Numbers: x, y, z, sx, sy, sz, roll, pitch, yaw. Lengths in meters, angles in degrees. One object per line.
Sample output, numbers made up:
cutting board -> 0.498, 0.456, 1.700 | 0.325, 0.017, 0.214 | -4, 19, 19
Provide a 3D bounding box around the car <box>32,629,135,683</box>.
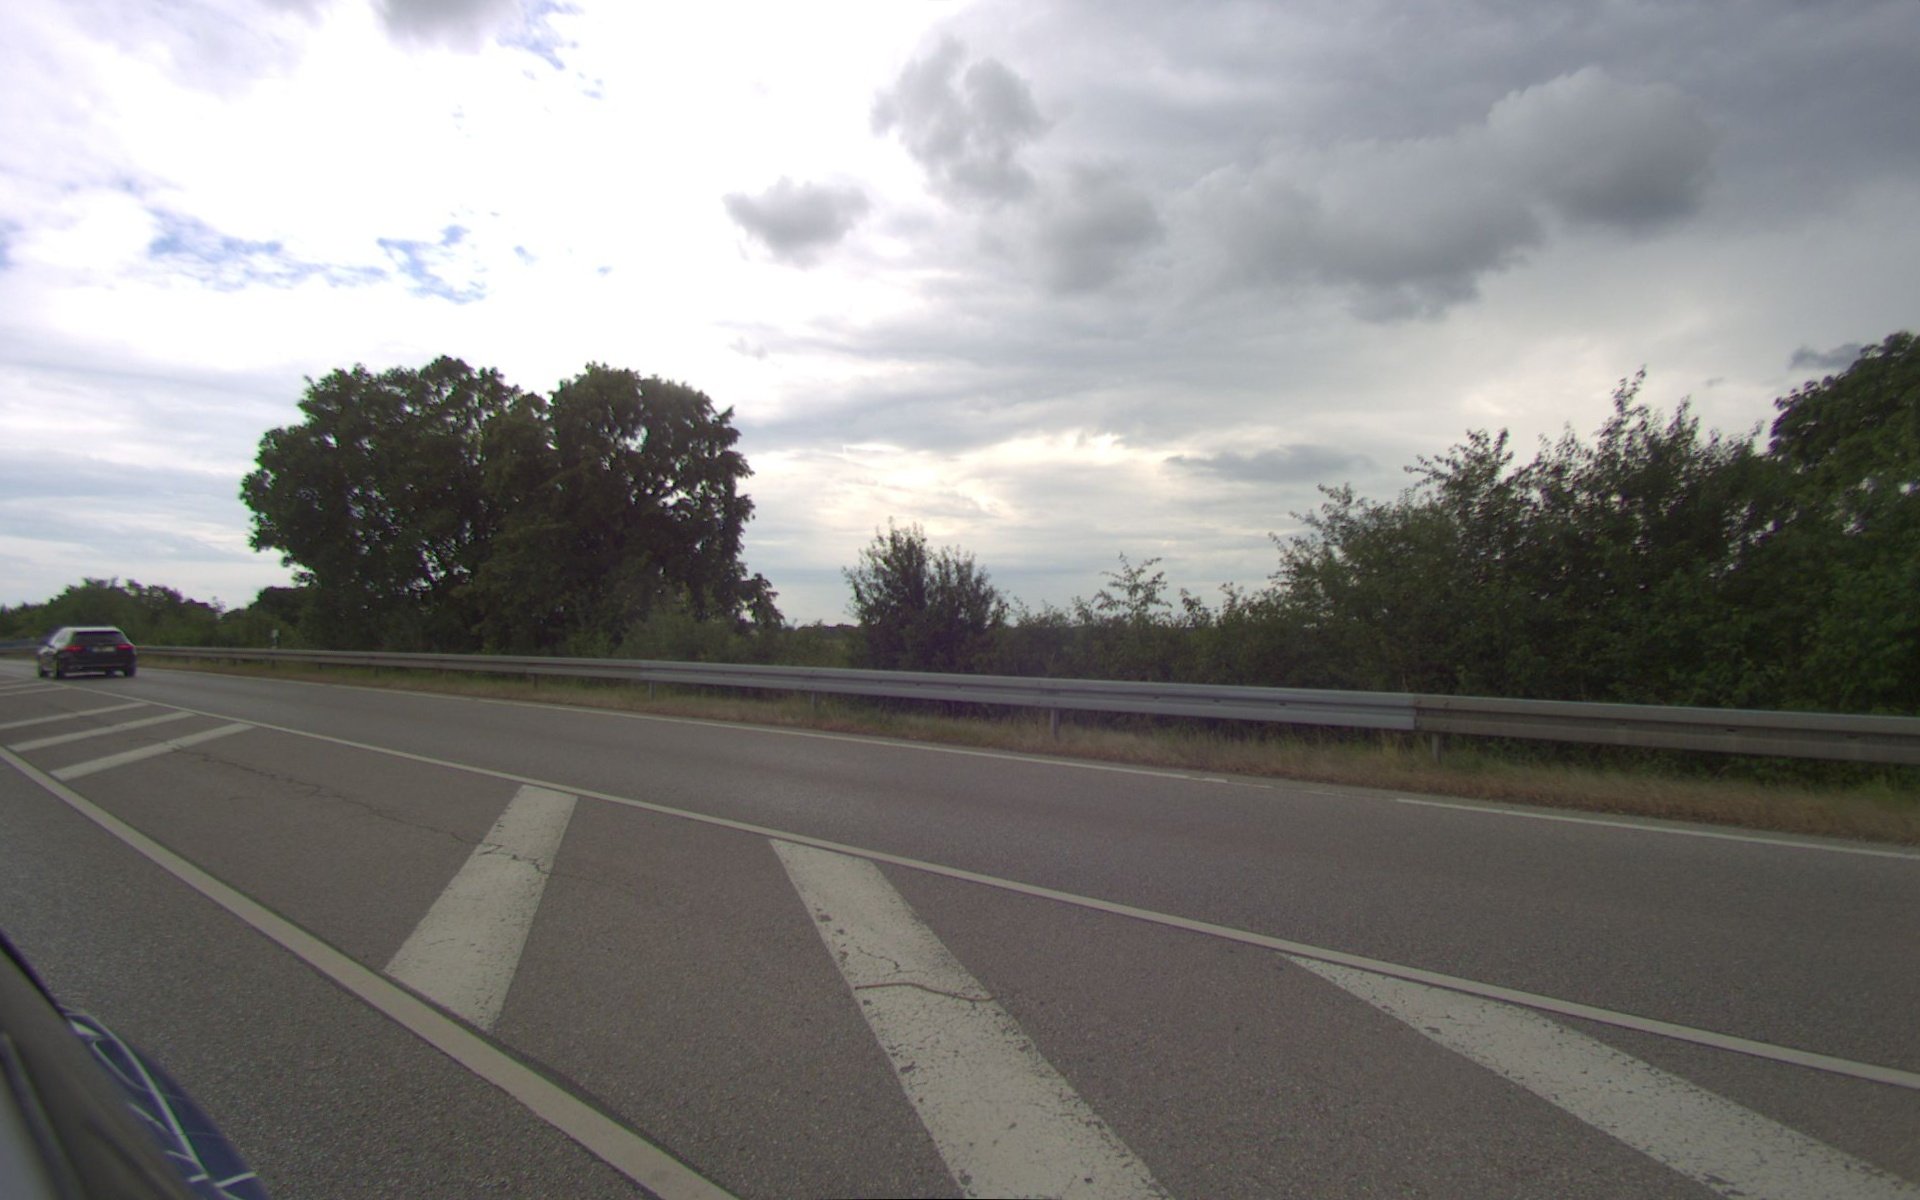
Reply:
car -> -25.591, 1.586, 29.495 | 4.255, 1.440, 1.654 | -2, -2, 40
